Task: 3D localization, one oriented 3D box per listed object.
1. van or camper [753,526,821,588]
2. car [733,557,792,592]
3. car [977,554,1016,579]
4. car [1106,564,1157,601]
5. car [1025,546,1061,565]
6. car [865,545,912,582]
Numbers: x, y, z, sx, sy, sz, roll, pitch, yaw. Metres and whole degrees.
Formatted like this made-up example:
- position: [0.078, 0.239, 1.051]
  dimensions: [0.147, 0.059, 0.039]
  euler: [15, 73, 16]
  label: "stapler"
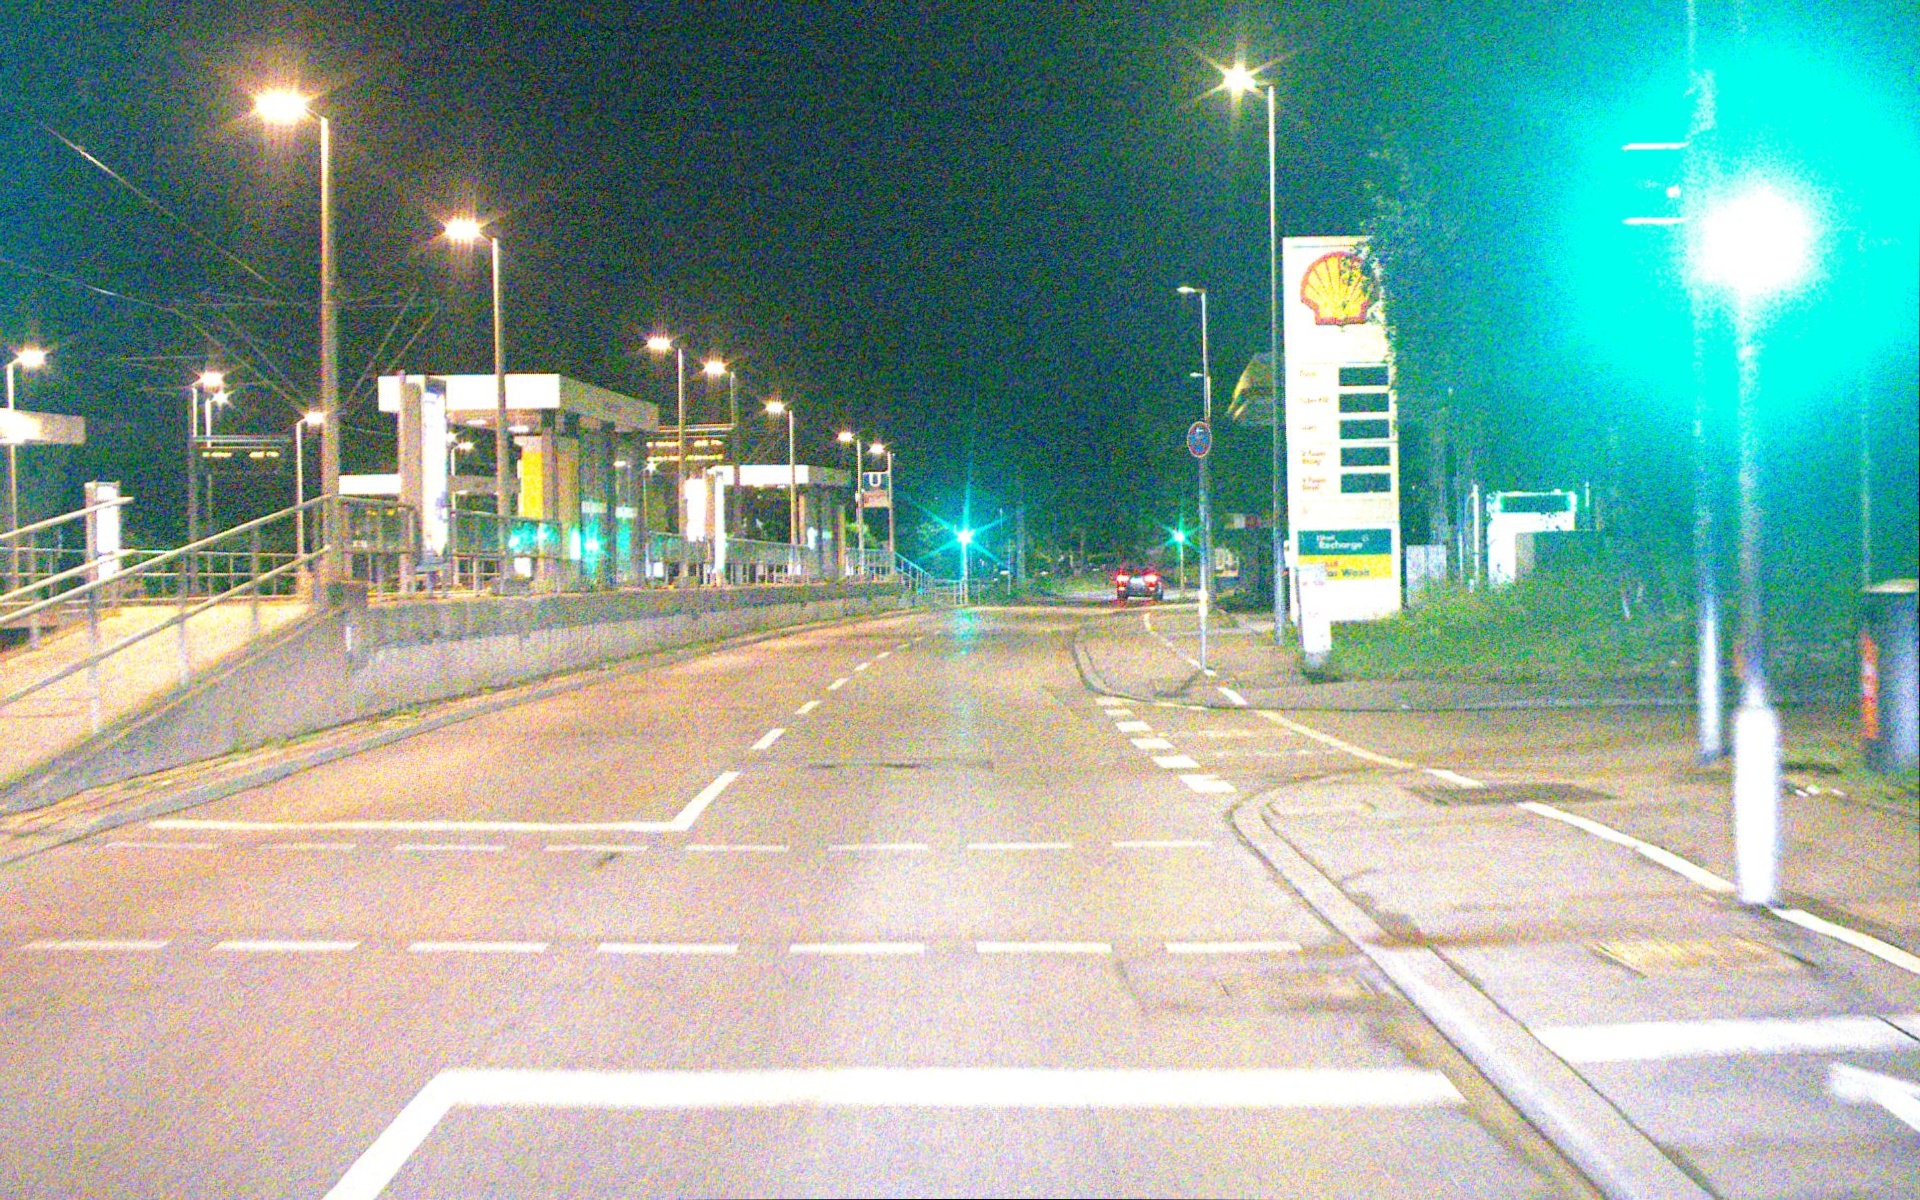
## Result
- position: [-7.748, -1.944, 154.267]
  dimensions: [2.273, 2.638, 5.663]
  euler: [-3, 1, 4]
  label: "van or camper"
- position: [-8.473, -1.097, 147.888]
  dimensions: [1.646, 1.335, 4.542]
  euler: [-5, 0, 7]
  label: "car"
- position: [2.438, -2.259, 229.068]
  dimensions: [1.994, 1.622, 4.676]
  euler: [-1, 1, 8]
  label: "car"
- position: [7.598, -0.781, 151.734]
  dimensions: [2.162, 1.577, 4.013]
  euler: [0, 1, 4]
  label: "car"
- position: [6.041, -3.241, 248.396]
  dimensions: [1.994, 1.333, 5.430]
  euler: [-1, 1, 8]
  label: "car"
- position: [-3.746, -1.911, 181.034]
  dimensions: [1.857, 1.897, 4.879]
  euler: [0, 1, 6]
  label: "car"
